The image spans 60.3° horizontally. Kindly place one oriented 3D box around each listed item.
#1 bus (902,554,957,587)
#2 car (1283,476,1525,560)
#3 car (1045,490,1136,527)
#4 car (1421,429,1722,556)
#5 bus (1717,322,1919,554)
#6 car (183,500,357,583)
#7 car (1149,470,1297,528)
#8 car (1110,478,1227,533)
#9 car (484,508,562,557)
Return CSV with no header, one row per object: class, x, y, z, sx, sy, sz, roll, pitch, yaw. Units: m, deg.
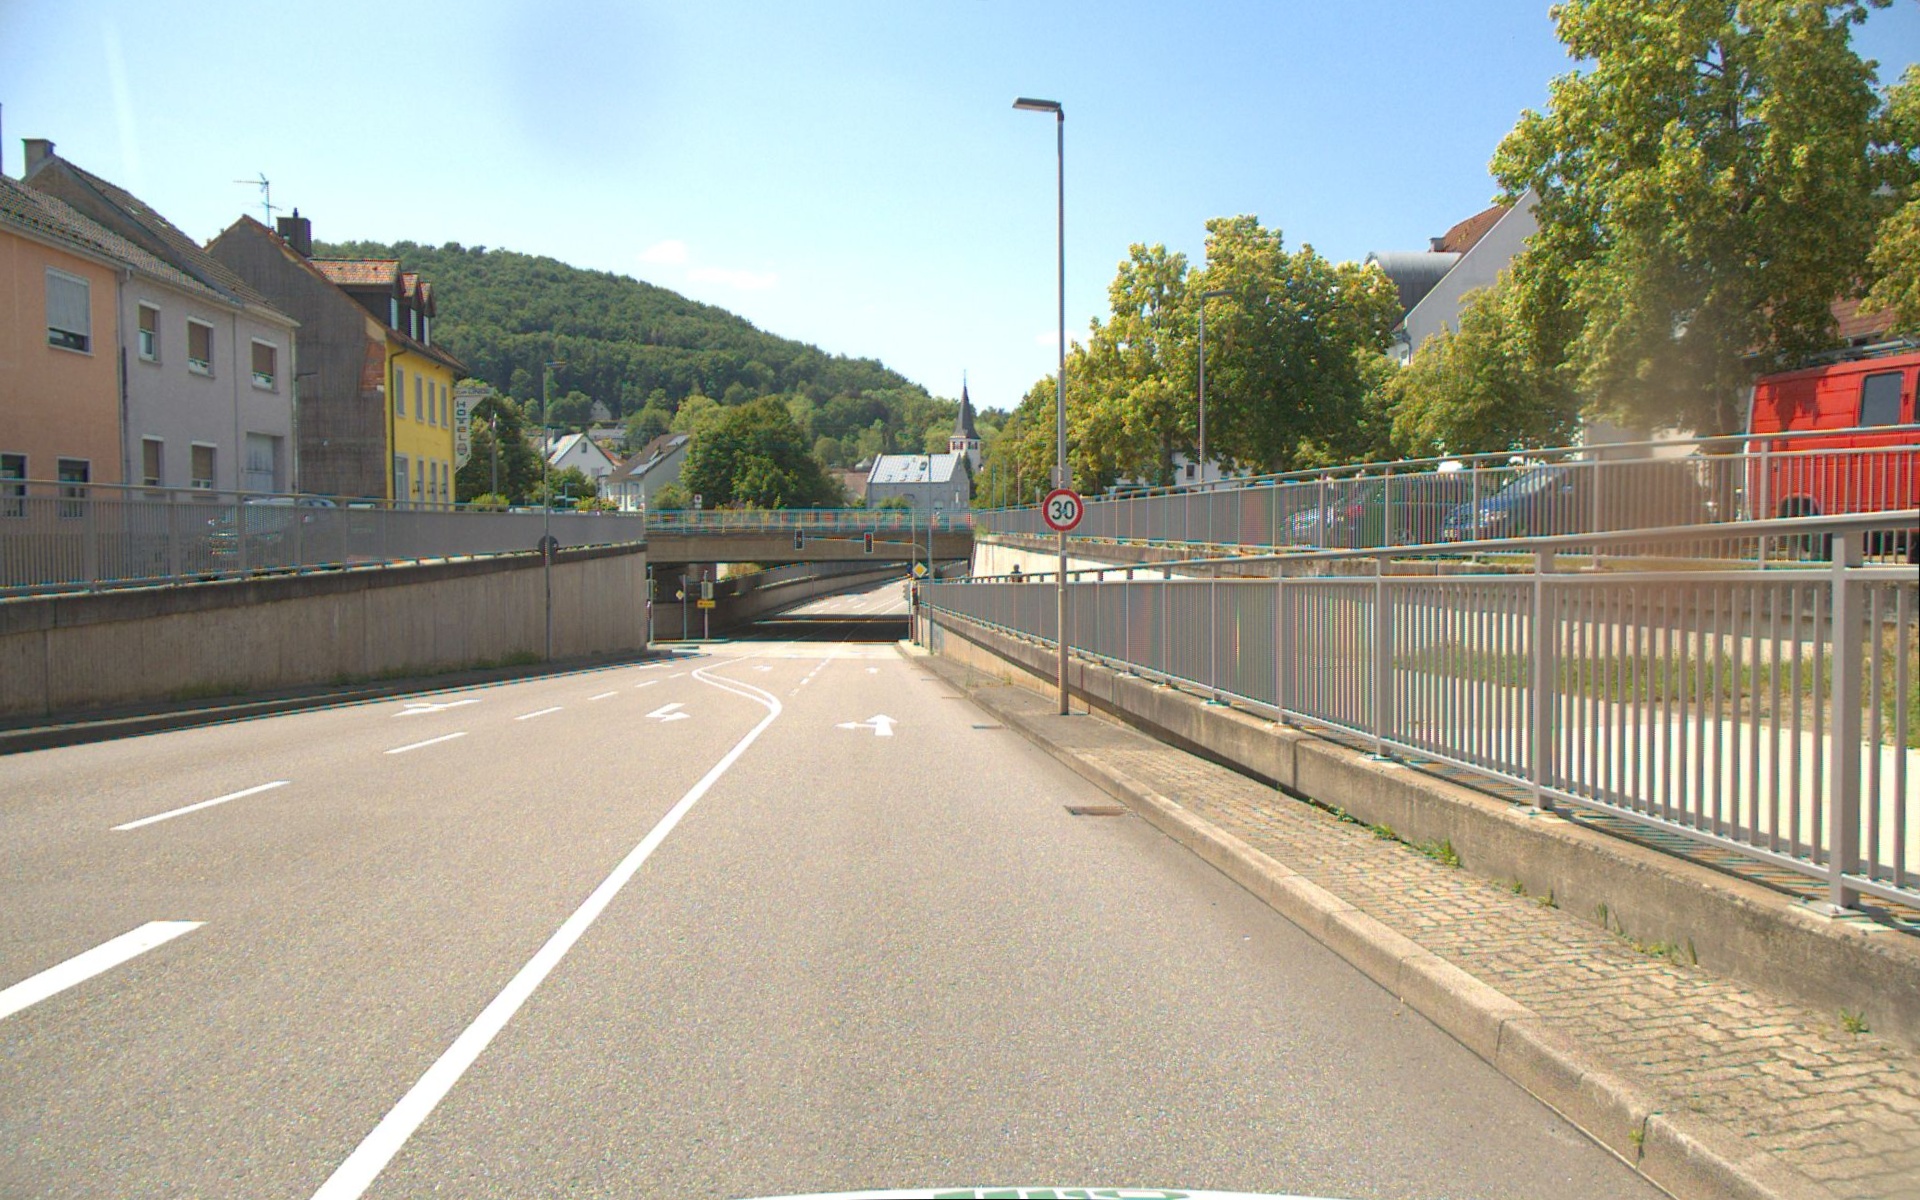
bus,-3.122,-3.134,172.810,2.526,3.227,12.388,0,2,14
car,7.965,-1.469,29.900,3.906,1.452,1.724,0,2,-1
car,5.834,-4.095,74.180,3.905,1.512,1.769,0,-1,-1
car,9.207,-1.579,25.019,3.918,1.658,1.857,1,-1,-13
bus,10.934,-1.785,18.524,2.146,2.407,5.361,-2,3,-5
car,-12.756,-1.071,30.870,1.751,1.430,4.389,0,2,-5
car,7.430,-2.855,46.959,3.905,1.512,1.769,0,-1,-1
car,7.360,-3.338,58.626,3.905,1.801,1.769,0,-1,-1
car,-14.402,-2.210,54.723,1.763,1.551,4.389,0,2,-5
